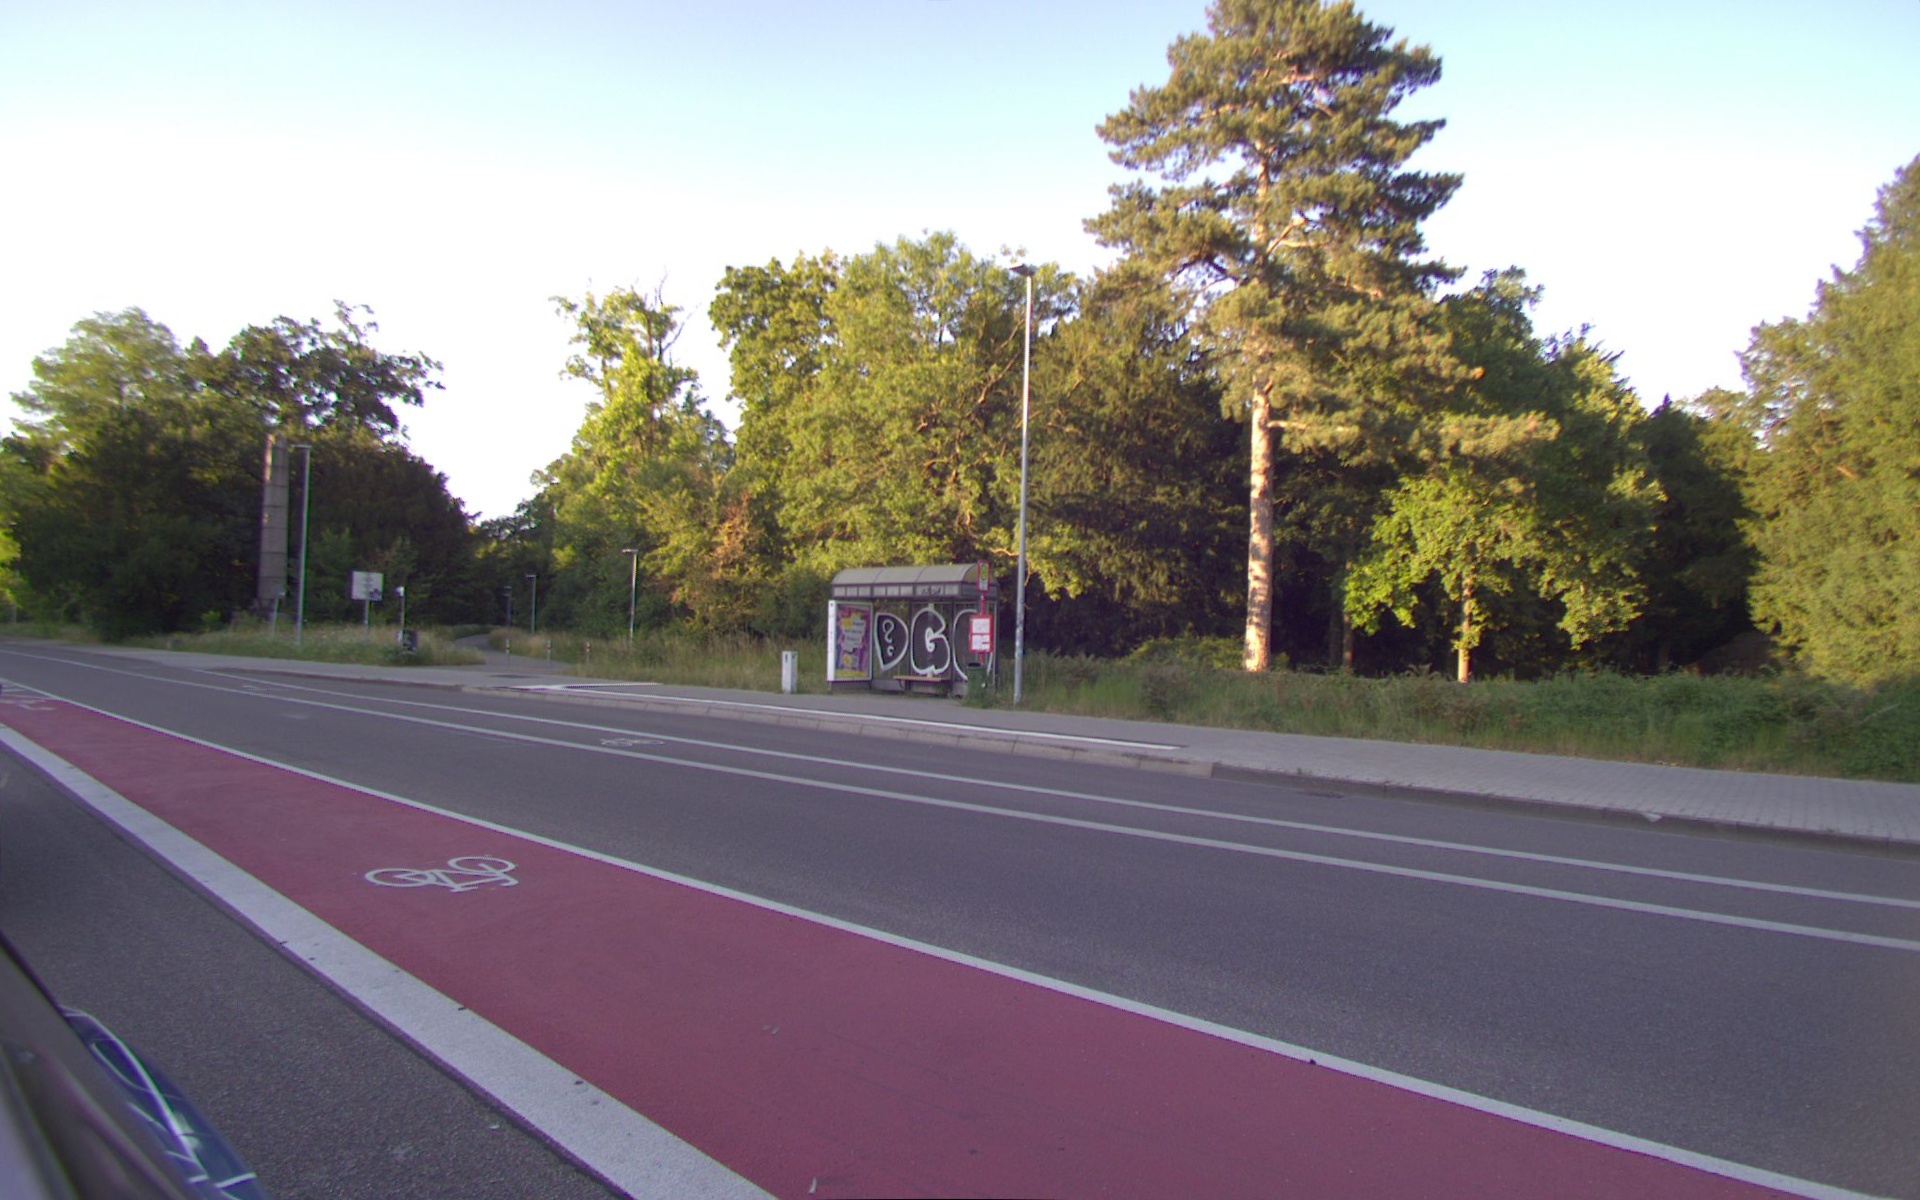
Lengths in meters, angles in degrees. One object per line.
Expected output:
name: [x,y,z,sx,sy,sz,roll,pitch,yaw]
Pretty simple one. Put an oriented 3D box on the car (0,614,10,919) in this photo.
car: [-7.014,0.803,5.612,5.206,1.410,1.796,-1,0,38]
